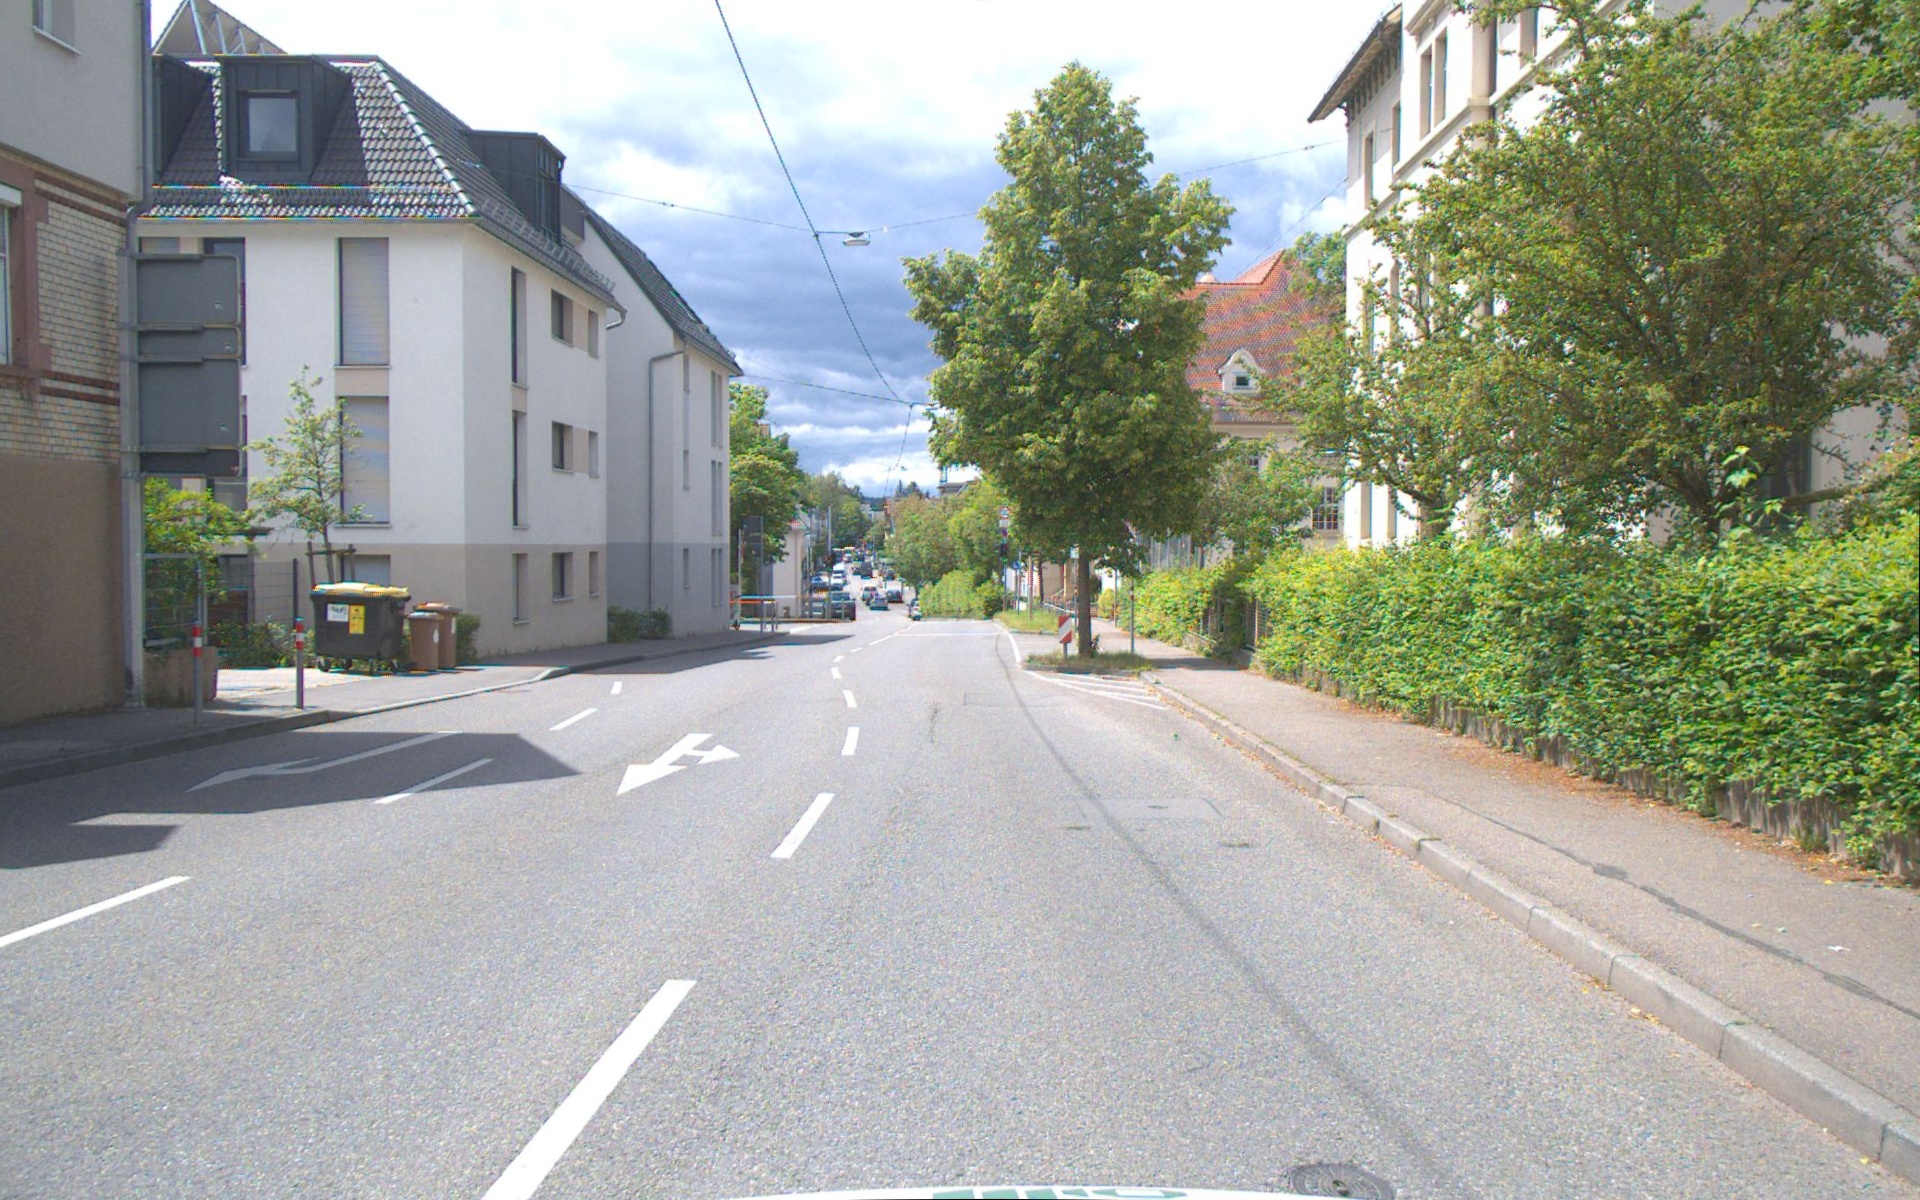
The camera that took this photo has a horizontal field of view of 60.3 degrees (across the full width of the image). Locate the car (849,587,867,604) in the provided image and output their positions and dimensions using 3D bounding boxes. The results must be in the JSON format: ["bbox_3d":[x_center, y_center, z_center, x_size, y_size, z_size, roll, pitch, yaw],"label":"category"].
[{"bbox_3d":[-12.234,-0.558,198.270,1.803,1.894,3.841,1,0,-10],"label":"car"}]

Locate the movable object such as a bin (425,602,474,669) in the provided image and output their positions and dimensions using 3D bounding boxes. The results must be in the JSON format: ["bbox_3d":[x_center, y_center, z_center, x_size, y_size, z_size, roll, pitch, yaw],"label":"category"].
[{"bbox_3d":[-8.513,0.590,27.609,0.627,1.094,0.660,0,0,-2],"label":"movable object such as a bin"}]

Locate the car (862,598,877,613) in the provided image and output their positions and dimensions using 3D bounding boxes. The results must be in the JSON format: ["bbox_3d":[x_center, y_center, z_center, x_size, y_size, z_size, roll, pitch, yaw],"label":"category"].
[{"bbox_3d":[-10.362,0.629,188.633,1.251,1.553,3.042,0,3,-12],"label":"car"}]

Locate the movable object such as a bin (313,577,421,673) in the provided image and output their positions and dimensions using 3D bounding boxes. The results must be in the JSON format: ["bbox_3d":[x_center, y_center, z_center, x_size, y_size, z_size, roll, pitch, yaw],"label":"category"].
[{"bbox_3d":[-9.330,0.381,26.095,1.308,1.471,1.170,0,0,-3],"label":"movable object such as a bin"}]

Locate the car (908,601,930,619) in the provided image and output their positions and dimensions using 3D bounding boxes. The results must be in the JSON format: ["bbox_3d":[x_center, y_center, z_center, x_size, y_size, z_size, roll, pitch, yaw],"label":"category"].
[{"bbox_3d":[-3.716,0.875,149.072,1.751,1.535,4.360,1,0,-4],"label":"car"}]

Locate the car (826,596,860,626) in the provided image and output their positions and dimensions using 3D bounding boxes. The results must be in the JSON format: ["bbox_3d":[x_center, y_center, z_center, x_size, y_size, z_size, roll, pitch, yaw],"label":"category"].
[{"bbox_3d":[-6.498,0.606,92.268,1.759,1.638,4.643,0,0,-3],"label":"car"}]

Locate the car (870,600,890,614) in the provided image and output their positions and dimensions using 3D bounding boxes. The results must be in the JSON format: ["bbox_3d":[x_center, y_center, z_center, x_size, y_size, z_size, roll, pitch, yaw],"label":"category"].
[{"bbox_3d":[-8.684,0.791,179.586,1.712,1.441,3.992,0,0,-9],"label":"car"}]

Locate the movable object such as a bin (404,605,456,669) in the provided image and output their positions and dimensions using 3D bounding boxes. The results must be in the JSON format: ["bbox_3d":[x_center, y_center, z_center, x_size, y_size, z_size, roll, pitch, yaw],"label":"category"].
[{"bbox_3d":[-8.605,0.598,26.862,0.627,1.018,0.657,0,0,0],"label":"movable object such as a bin"}]

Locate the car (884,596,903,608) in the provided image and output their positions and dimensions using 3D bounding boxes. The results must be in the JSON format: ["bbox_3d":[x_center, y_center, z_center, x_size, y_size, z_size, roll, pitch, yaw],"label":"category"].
[{"bbox_3d":[-7.887,0.243,195.120,1.721,1.395,3.990,0,1,-11],"label":"car"}]

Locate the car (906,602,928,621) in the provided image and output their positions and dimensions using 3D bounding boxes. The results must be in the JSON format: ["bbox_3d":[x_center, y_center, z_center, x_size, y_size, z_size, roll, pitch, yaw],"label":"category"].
[{"bbox_3d":[-4.015,1.072,154.925,1.808,1.798,4.510,1,0,-4],"label":"car"}]

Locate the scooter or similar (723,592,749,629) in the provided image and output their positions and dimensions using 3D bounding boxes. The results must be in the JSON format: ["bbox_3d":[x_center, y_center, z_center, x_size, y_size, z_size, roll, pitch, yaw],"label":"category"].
[{"bbox_3d":[-7.827,0.356,57.746,0.484,1.283,1.295,0,0,-29],"label":"scooter or similar"}]
